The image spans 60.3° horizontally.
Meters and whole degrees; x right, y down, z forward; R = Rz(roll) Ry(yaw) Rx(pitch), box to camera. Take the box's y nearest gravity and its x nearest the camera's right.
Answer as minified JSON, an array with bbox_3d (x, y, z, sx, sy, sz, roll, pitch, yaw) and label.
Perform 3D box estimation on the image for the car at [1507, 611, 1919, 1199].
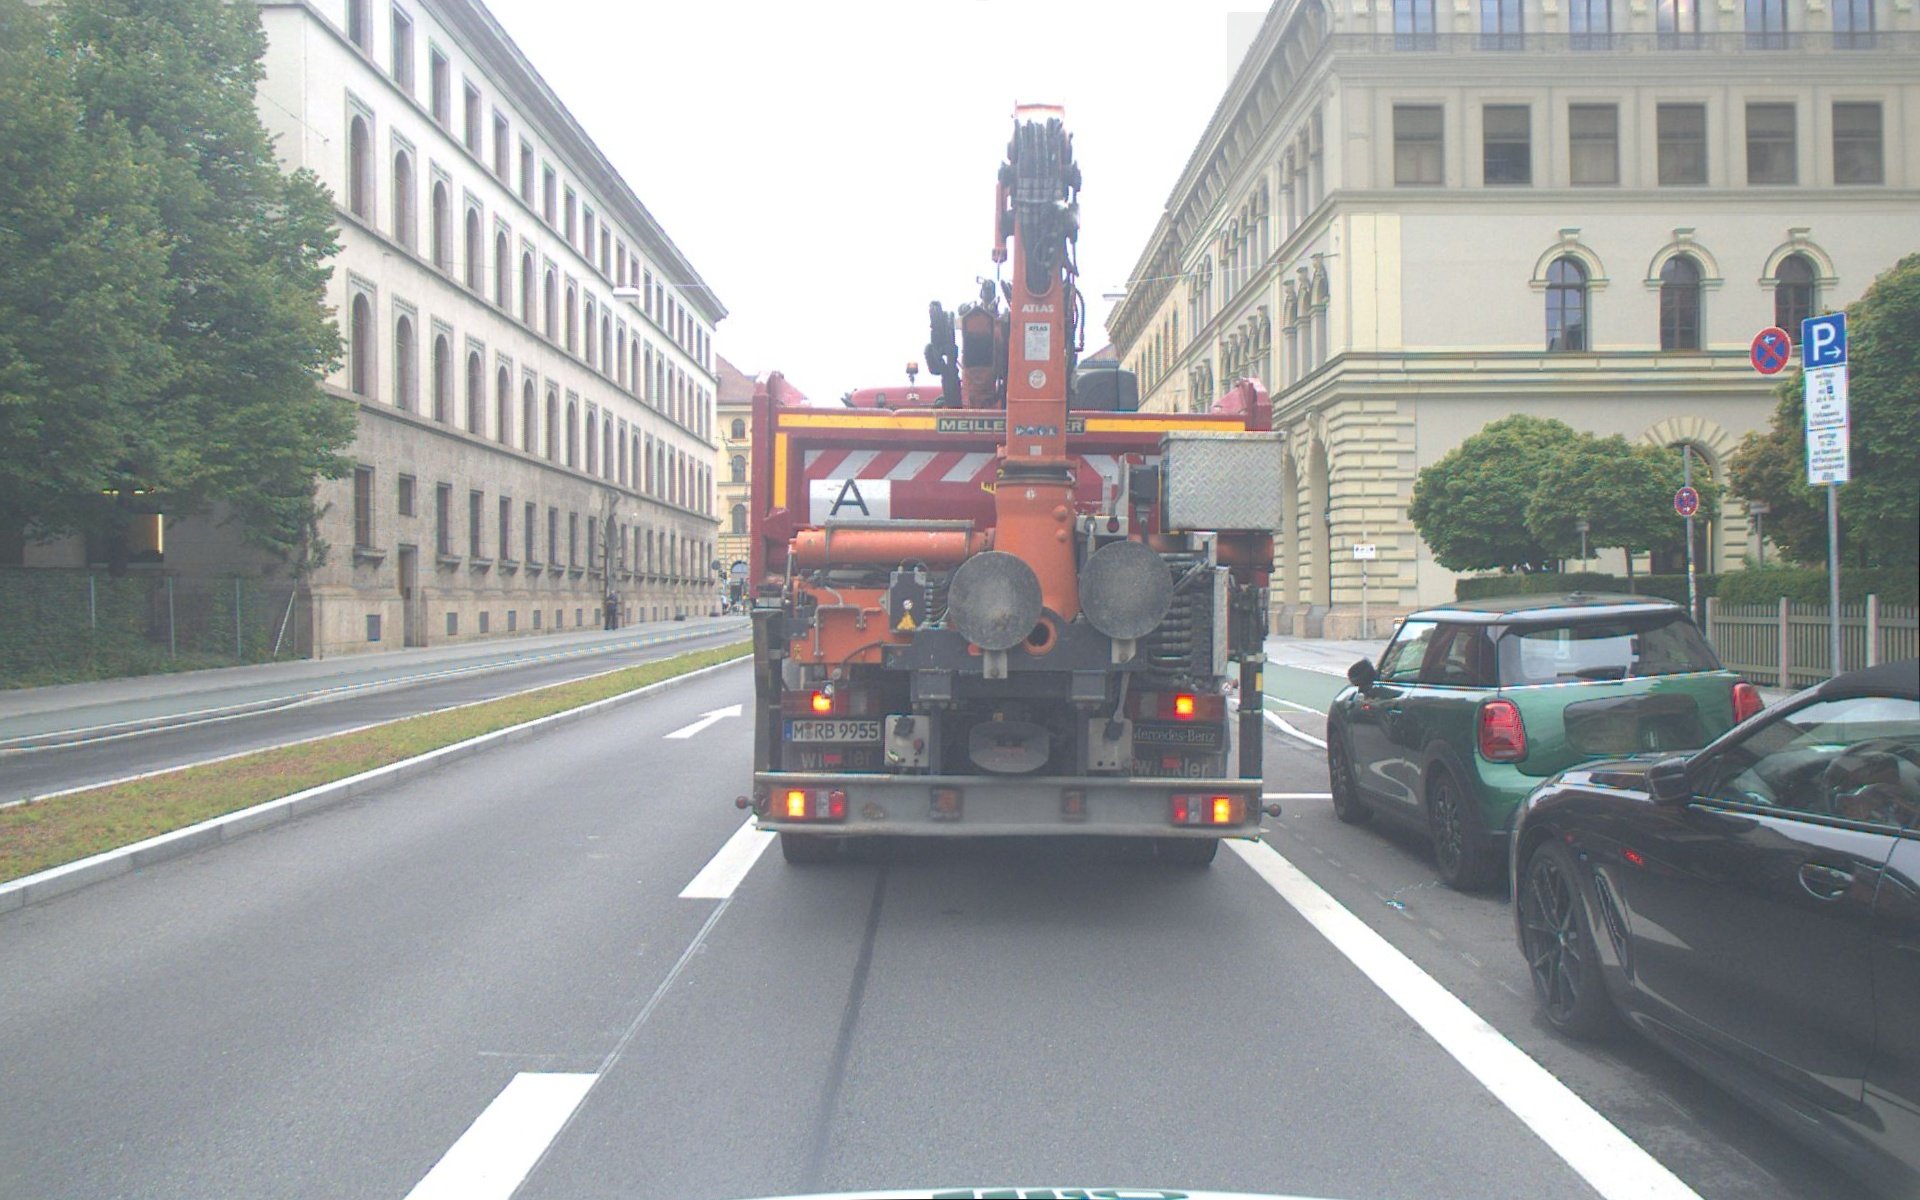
[{"bbox_3d":[2.881,0.769,3.974,1.646,1.410,4.426,1,0,0],"label":"car"}]

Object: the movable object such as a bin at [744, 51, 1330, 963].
[{"bbox_3d":[0.259,-0.394,9.622,2.374,3.674,5.850,0,0,-1],"label":"movable object such as a bin"}]

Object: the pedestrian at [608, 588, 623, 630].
[{"bbox_3d":[-15.318,0.408,73.585,0.577,1.863,0.498,0,0,-2],"label":"pedestrian"}]

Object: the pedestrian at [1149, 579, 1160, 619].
[{"bbox_3d":[9.202,-0.047,78.114,0.436,1.868,0.556,-1,0,1],"label":"pedestrian"}]

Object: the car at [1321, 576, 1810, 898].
[{"bbox_3d":[3.285,0.646,9.659,1.577,1.521,3.424,-1,0,0],"label":"car"}]
